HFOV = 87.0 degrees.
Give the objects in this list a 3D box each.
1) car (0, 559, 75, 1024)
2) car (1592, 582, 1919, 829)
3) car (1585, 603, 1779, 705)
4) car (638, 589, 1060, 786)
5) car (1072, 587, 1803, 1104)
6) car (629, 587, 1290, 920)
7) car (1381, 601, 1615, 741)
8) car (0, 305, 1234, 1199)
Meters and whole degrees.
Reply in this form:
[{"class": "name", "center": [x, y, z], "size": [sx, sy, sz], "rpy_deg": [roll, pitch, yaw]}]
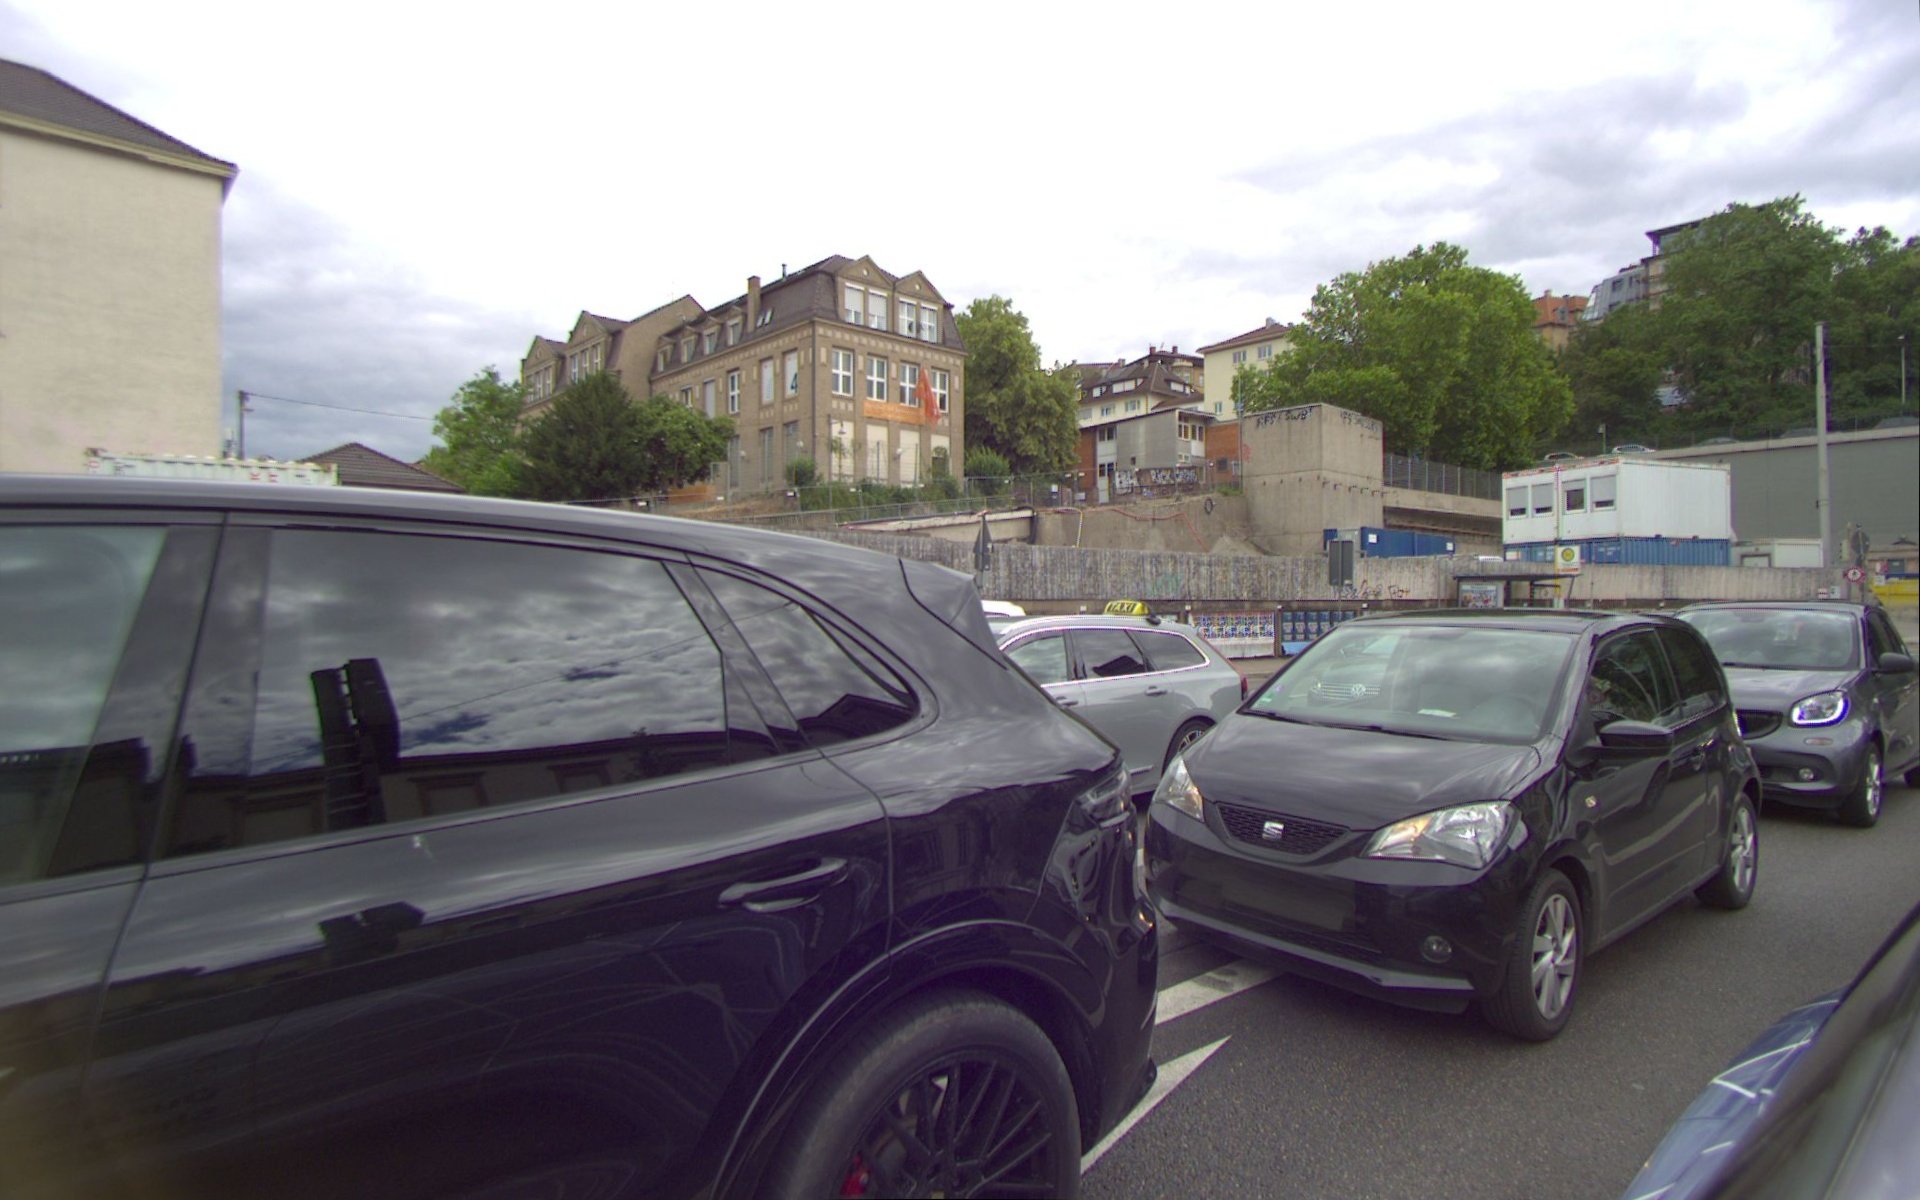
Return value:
[{"class": "car", "center": [-5.300, 0.693, 3.046], "size": [3.930, 1.645, 1.679], "rpy_deg": [-1, 0, -41]}, {"class": "car", "center": [6.713, 0.670, 8.191], "size": [3.511, 1.563, 1.720], "rpy_deg": [0, 0, -40]}, {"class": "car", "center": [11.513, 0.761, 16.061], "size": [3.740, 1.383, 1.679], "rpy_deg": [-1, 0, -41]}, {"class": "car", "center": [-1.002, 0.716, 10.485], "size": [4.136, 1.645, 1.679], "rpy_deg": [-1, 0, -41]}, {"class": "car", "center": [2.441, 0.686, 4.798], "size": [3.636, 1.476, 1.827], "rpy_deg": [-1, 0, -41]}, {"class": "car", "center": [0.274, 0.738, 7.268], "size": [4.725, 1.645, 1.827], "rpy_deg": [-1, 0, -41]}, {"class": "car", "center": [6.549, 0.757, 12.260], "size": [2.667, 1.450, 1.664], "rpy_deg": [-1, 0, -41]}, {"class": "car", "center": [-1.617, 0.577, 1.607], "size": [4.406, 1.737, 1.827], "rpy_deg": [-1, 0, -41]}]
